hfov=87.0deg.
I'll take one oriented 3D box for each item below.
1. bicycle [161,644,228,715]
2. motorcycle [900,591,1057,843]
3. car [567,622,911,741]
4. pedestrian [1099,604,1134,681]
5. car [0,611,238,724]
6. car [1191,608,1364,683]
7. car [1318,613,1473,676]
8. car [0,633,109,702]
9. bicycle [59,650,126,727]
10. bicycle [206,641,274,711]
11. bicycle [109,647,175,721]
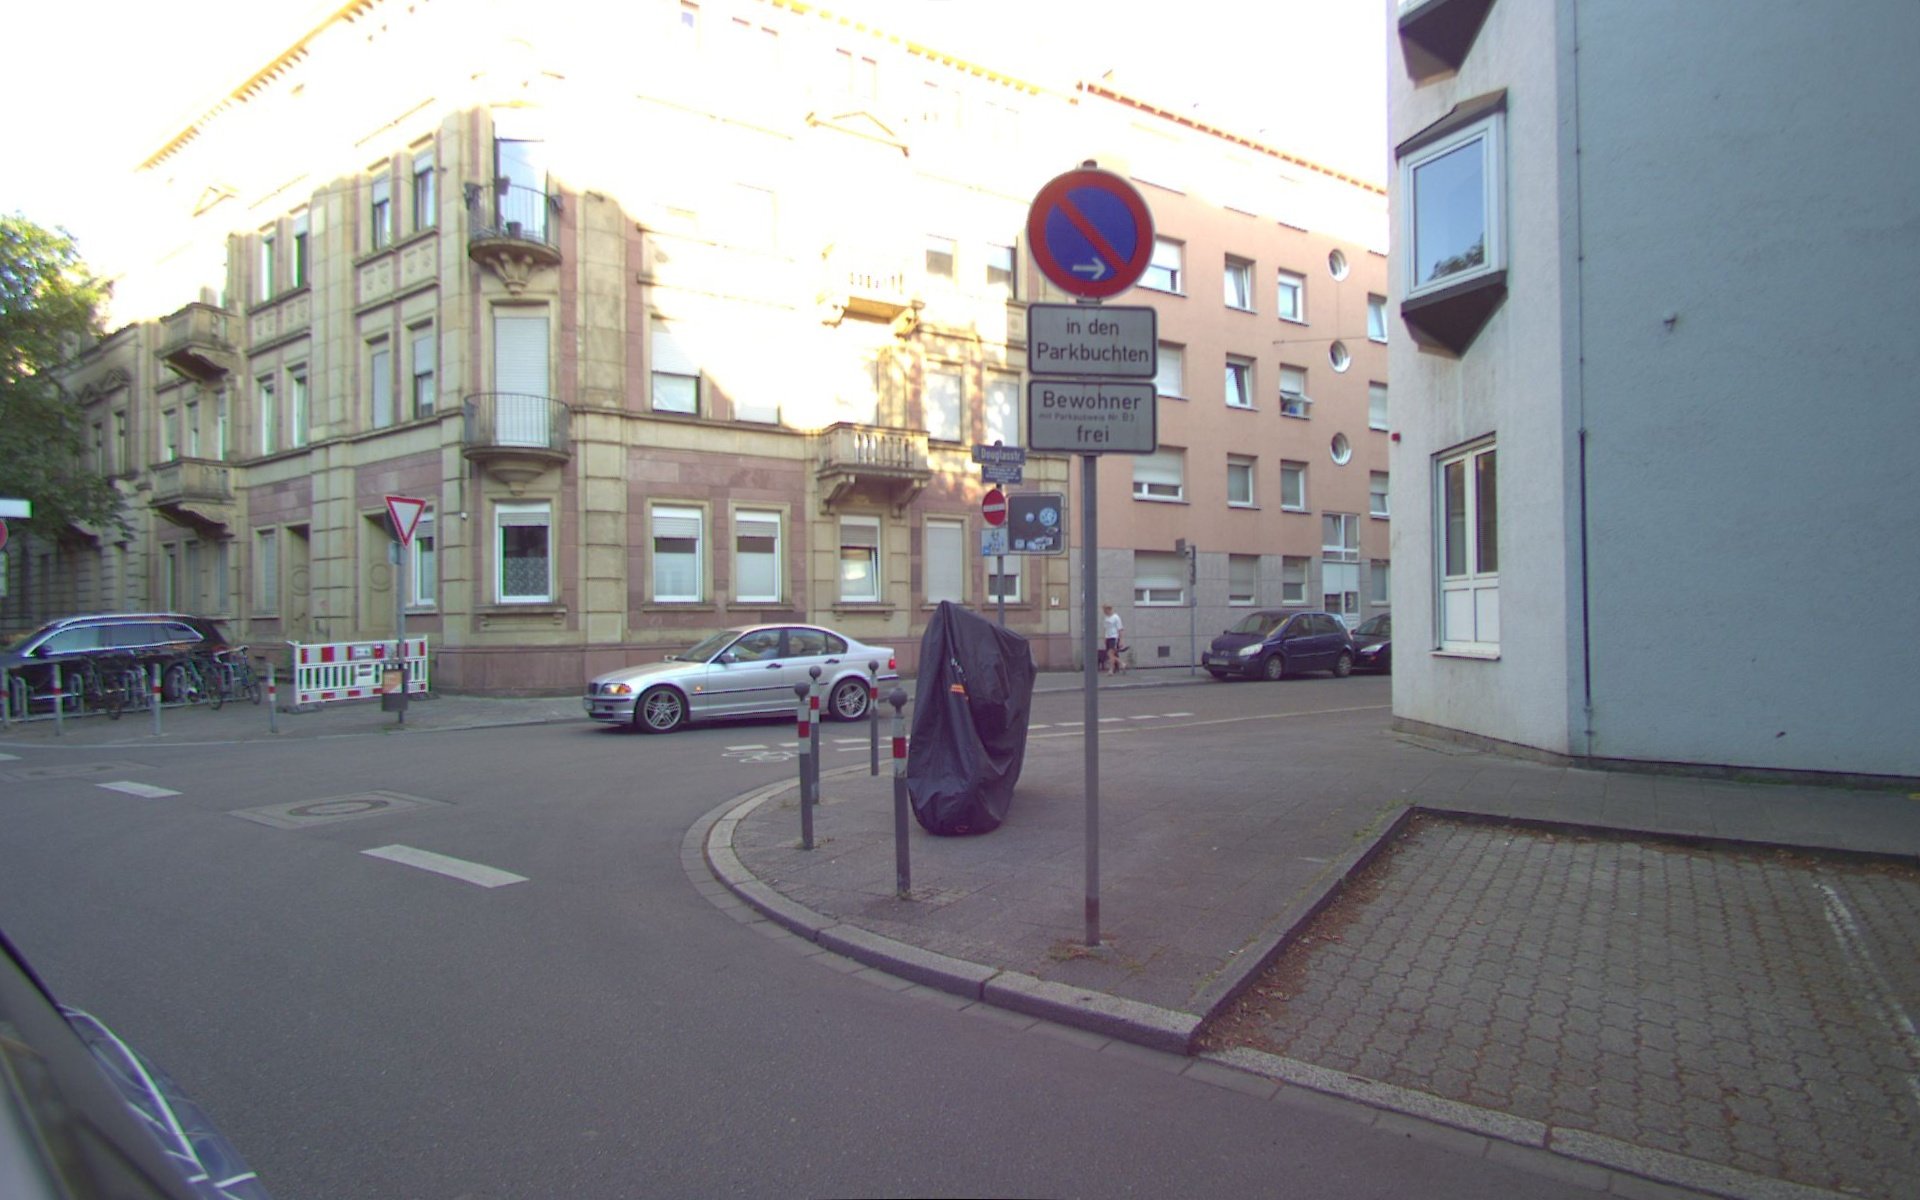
[{"bbox_3d":[-12.882,1.308,17.008,1.866,1.097,0.360,-1,1,36],"label":"bicycle"},{"bbox_3d":[0.205,0.756,7.439,0.663,1.567,2.152,-1,-2,14],"label":"motorcycle"},{"bbox_3d":[-3.021,1.056,14.182,4.396,1.414,1.687,0,-3,-33],"label":"car"},{"bbox_3d":[3.649,0.982,23.616,0.559,1.757,0.552,1,-2,-34],"label":"pedestrian"},{"bbox_3d":[-15.762,1.141,17.903,1.773,1.751,4.536,-1,1,36],"label":"car"},{"bbox_3d":[7.543,1.038,23.958,3.985,1.637,1.700,0,-2,-32],"label":"car"},{"bbox_3d":[11.555,1.135,26.767,4.211,1.525,1.699,0,-2,-33],"label":"car"},{"bbox_3d":[-21.944,1.521,22.474,1.773,1.499,4.392,-2,-2,36],"label":"car"},{"bbox_3d":[-13.599,1.356,15.844,1.866,1.097,0.360,-1,1,36],"label":"bicycle"},{"bbox_3d":[-12.438,1.290,17.470,1.866,1.097,0.360,-1,1,36],"label":"bicycle"},{"bbox_3d":[-13.334,1.339,16.479,1.866,1.097,0.360,-1,1,36],"label":"bicycle"}]
